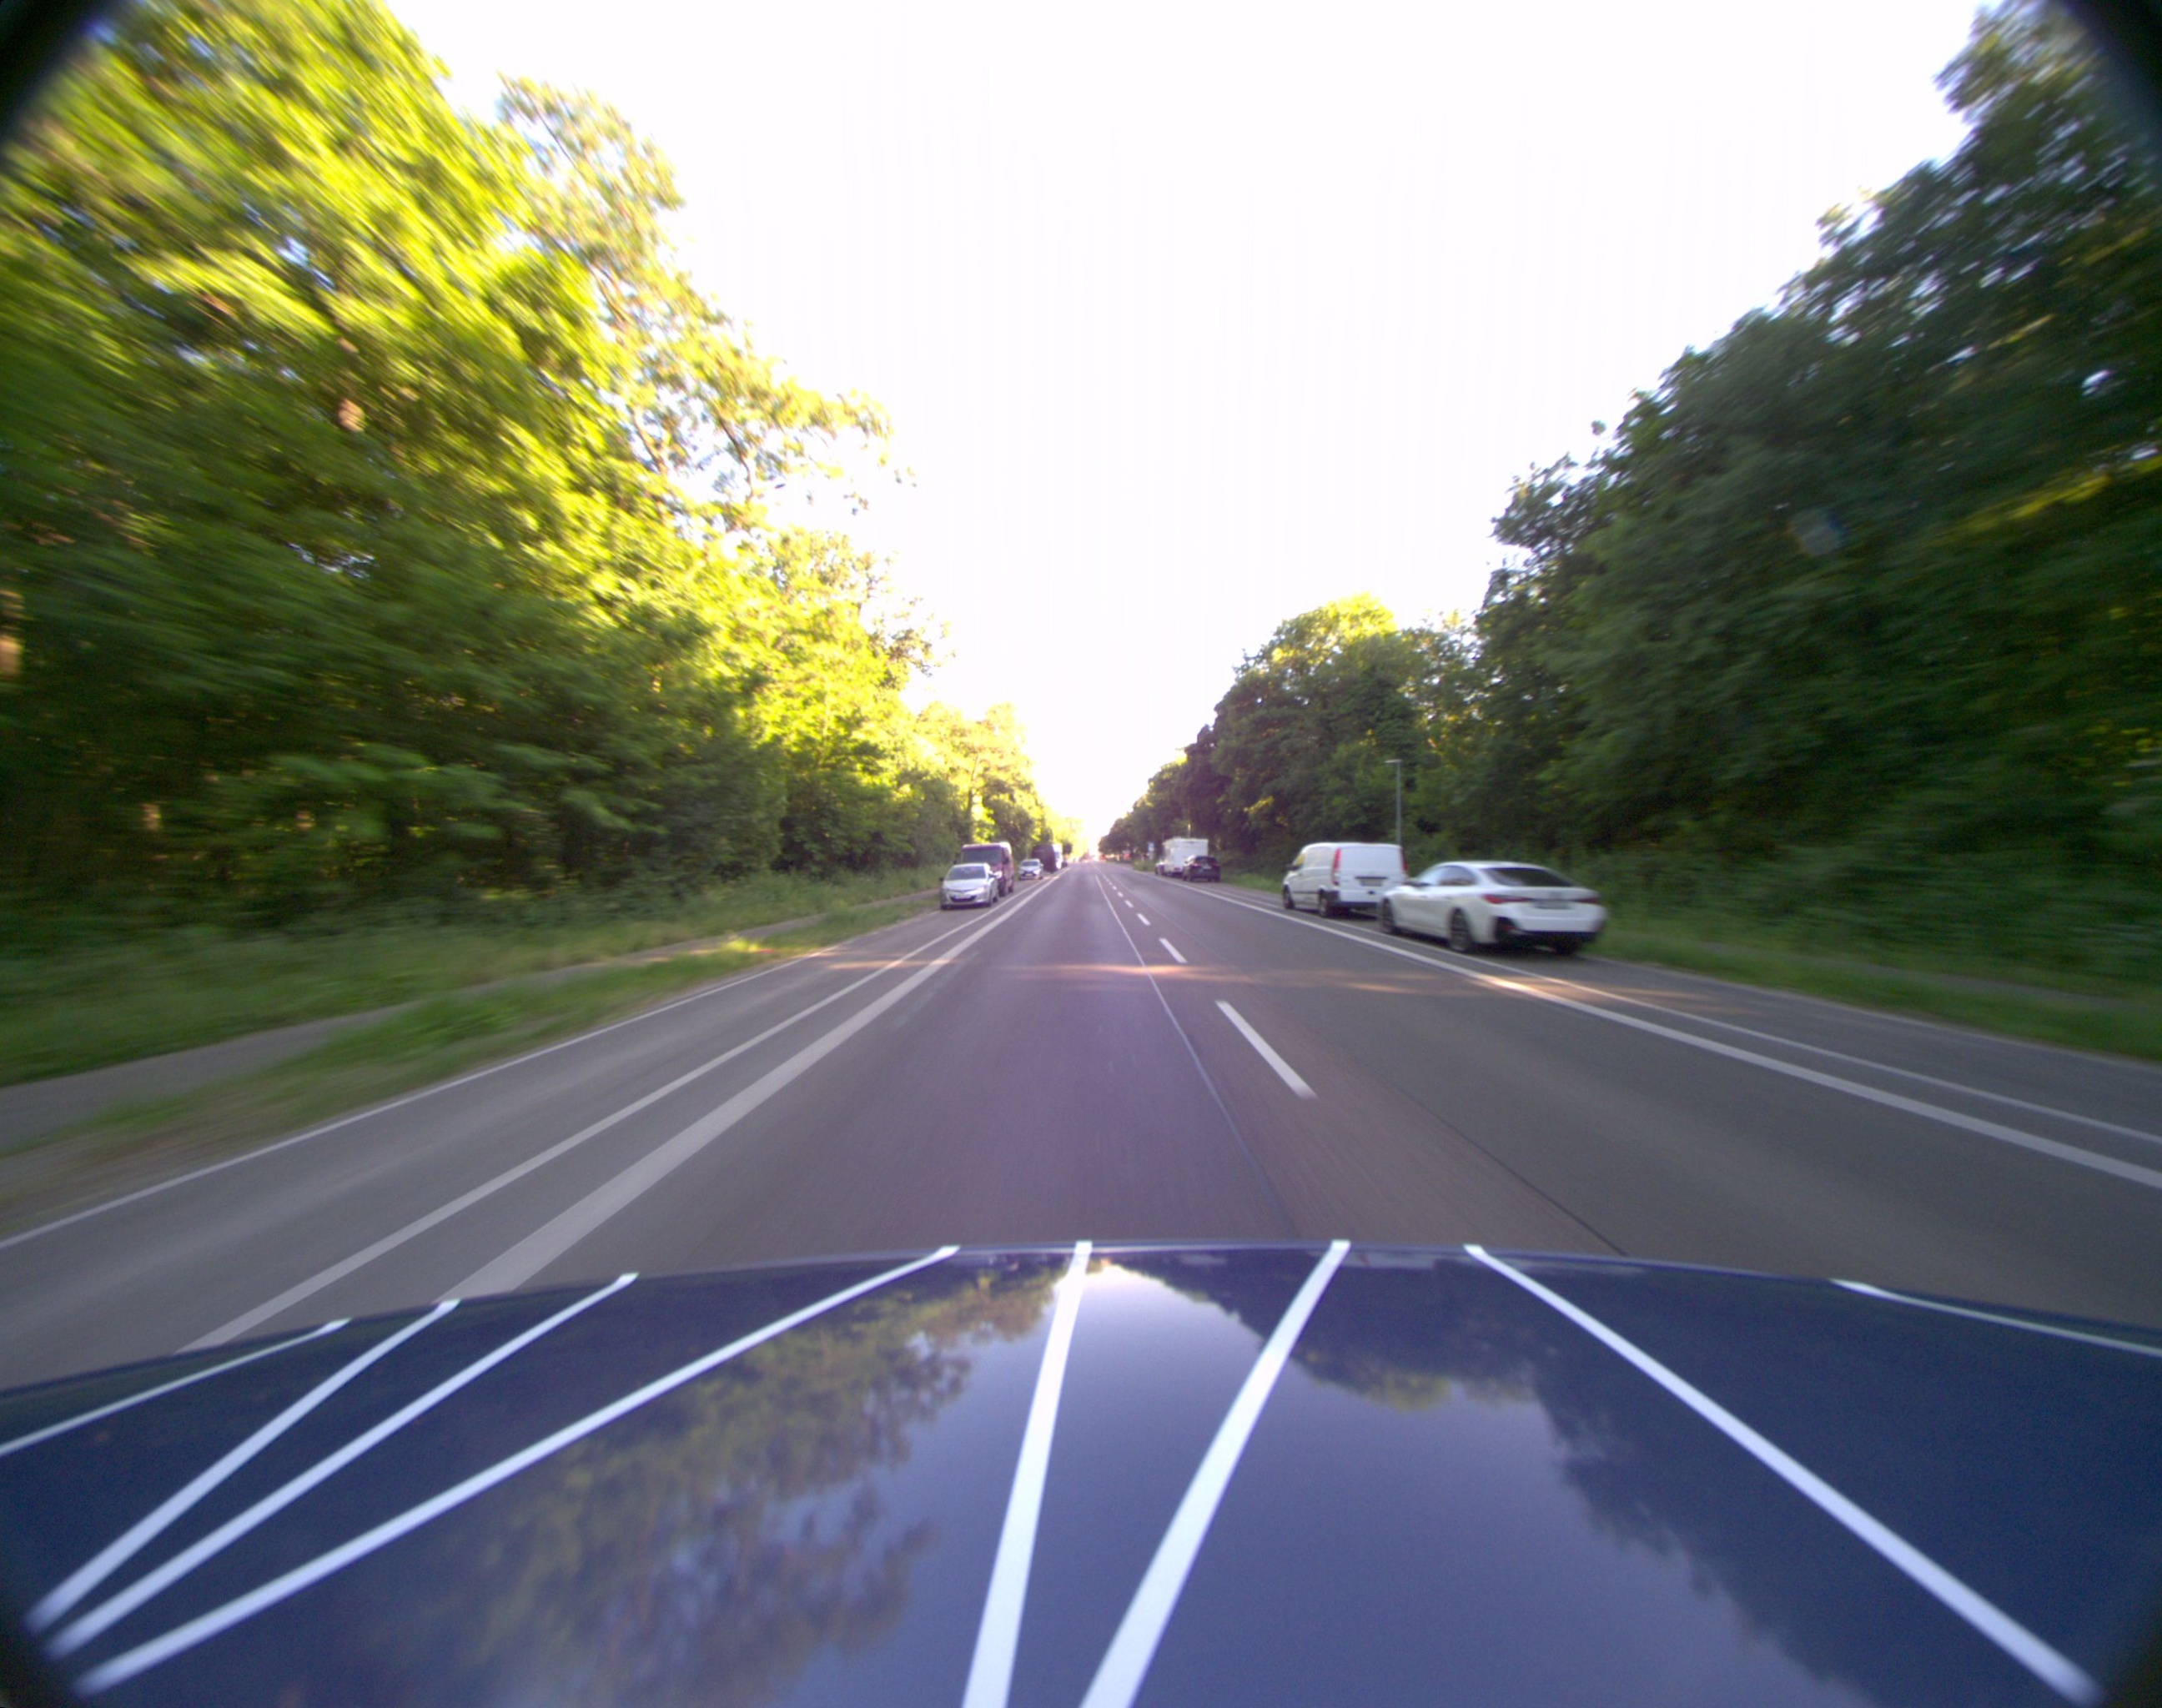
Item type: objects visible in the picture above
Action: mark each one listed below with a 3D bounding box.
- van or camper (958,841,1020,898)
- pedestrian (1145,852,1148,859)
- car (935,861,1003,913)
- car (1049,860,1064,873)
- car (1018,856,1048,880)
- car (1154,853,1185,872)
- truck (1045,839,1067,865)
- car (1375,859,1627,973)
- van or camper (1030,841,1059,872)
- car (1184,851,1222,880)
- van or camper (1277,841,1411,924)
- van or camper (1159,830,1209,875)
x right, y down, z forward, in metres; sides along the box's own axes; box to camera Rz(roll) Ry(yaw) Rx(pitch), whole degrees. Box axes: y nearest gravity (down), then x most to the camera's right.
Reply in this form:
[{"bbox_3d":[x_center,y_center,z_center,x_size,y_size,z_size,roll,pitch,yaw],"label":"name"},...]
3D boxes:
[{"bbox_3d":[-4.006,0.625,33.964,2.040,2.298,6.040,-1,0,0],"label":"van or camper"},{"bbox_3d":[14.550,0.380,169.046,0.676,1.644,0.790,-1,0,5],"label":"pedestrian"},{"bbox_3d":[-3.851,1.088,26.742,1.752,1.506,3.999,-4,0,-1],"label":"car"},{"bbox_3d":[-3.175,1.561,98.920,1.716,1.559,4.000,-3,0,0],"label":"car"},{"bbox_3d":[-3.434,0.964,54.884,1.716,1.536,4.022,-3,0,2],"label":"car"},{"bbox_3d":[7.177,0.679,61.908,1.832,1.467,4.679,0,0,-3],"label":"car"},{"bbox_3d":[-3.532,-0.245,107.672,2.840,3.477,8.577,-1,0,0],"label":"truck"},{"bbox_3d":[6.763,0.886,12.924,1.779,1.531,4.524,1,0,0],"label":"car"},{"bbox_3d":[-3.611,0.267,74.004,2.448,2.783,6.554,-3,0,-4],"label":"van or camper"},{"bbox_3d":[7.318,0.668,45.898,1.650,1.622,4.273,1,0,1],"label":"car"},{"bbox_3d":[6.711,0.653,20.032,1.840,1.900,4.855,0,0,0],"label":"van or camper"},{"bbox_3d":[7.295,-0.115,54.675,2.321,2.952,7.109,1,0,-2],"label":"van or camper"}]
